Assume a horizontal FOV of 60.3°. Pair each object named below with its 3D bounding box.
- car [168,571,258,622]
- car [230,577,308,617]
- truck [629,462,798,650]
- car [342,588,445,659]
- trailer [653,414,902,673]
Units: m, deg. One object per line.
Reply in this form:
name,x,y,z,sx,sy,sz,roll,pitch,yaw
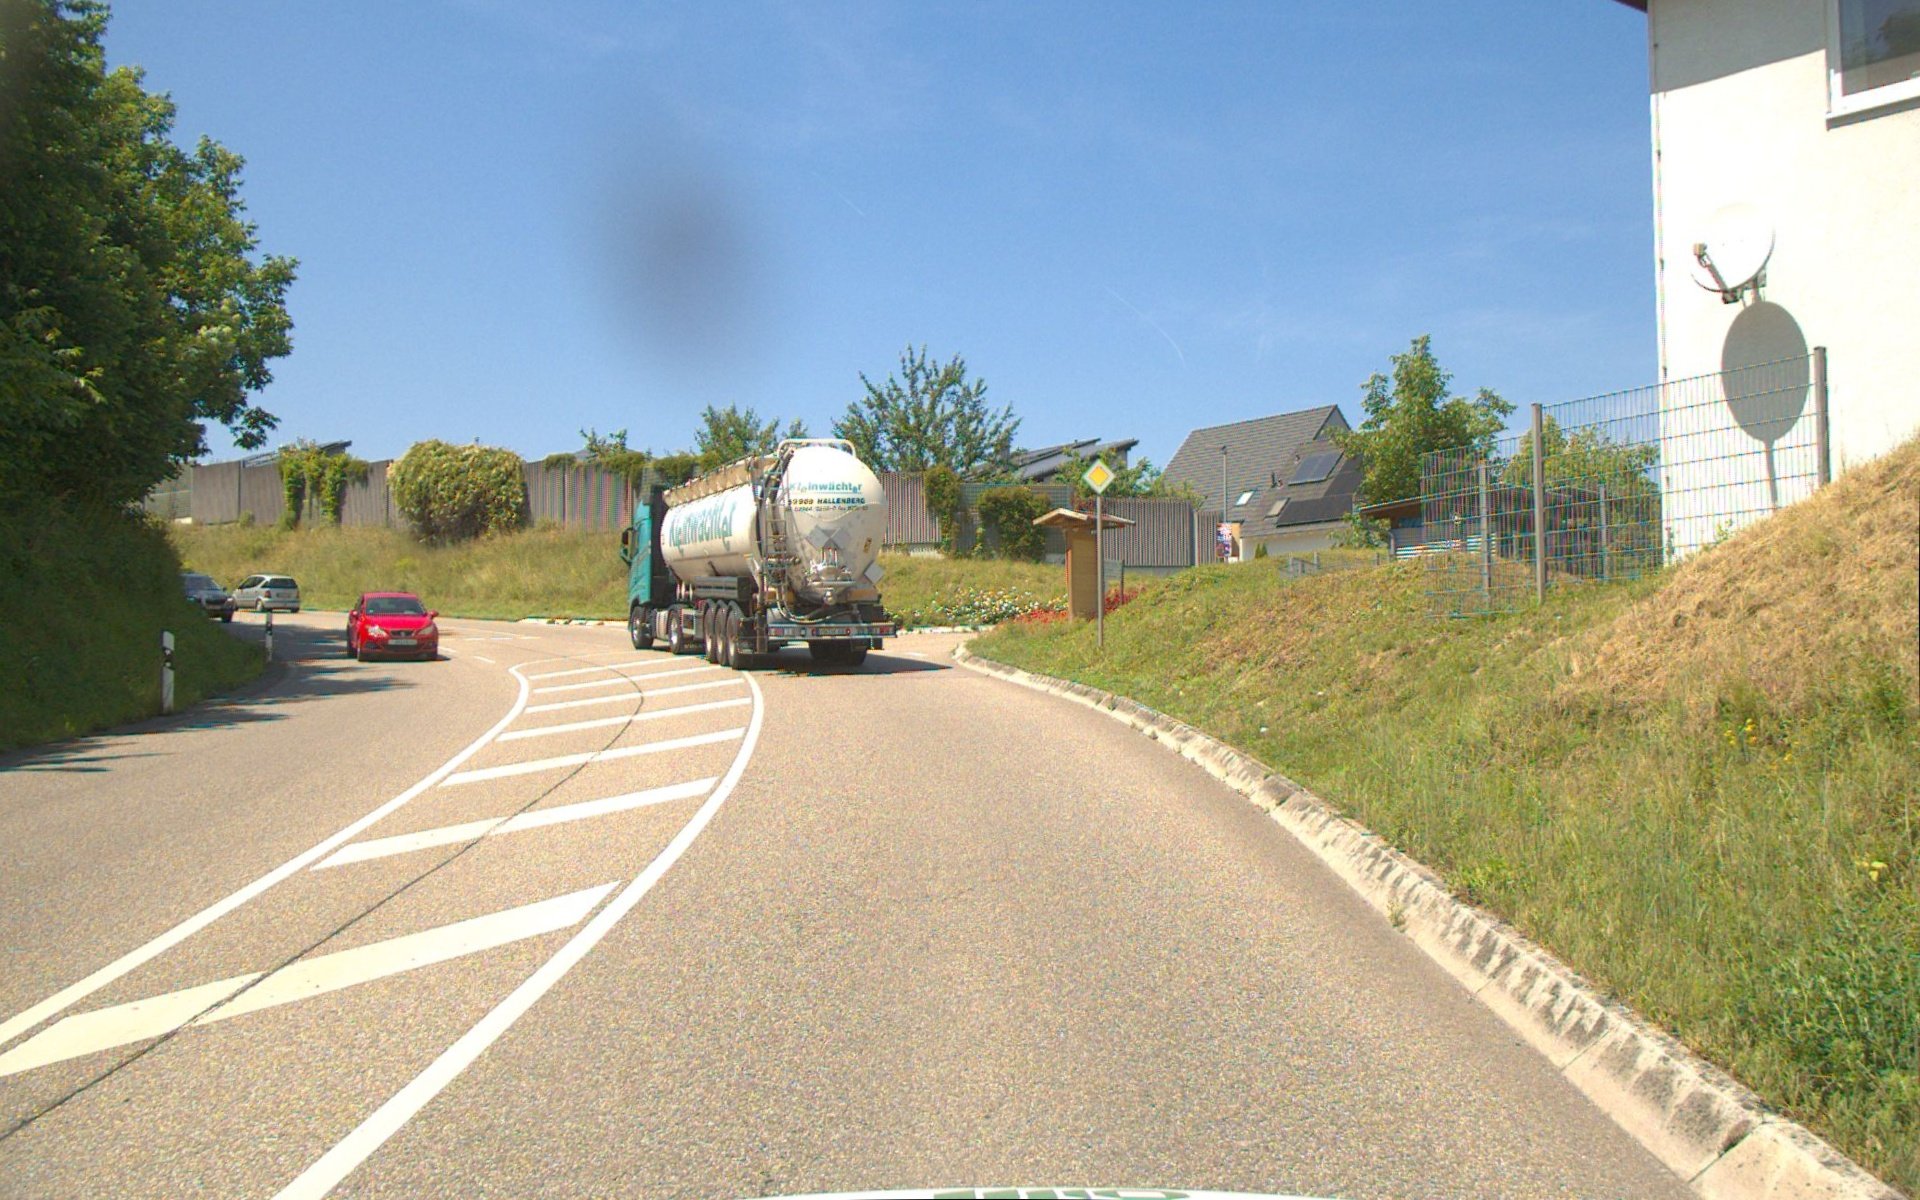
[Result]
car,-26.016,-0.147,57.521,1.780,1.632,4.120,-3,3,-40
car,-28.890,-0.122,69.117,3.576,1.536,1.642,1,-2,44
truck,-5.967,-0.968,39.053,2.685,3.998,7.225,-1,0,-18
car,-12.788,0.477,37.202,1.728,1.473,3.967,-1,1,-26
trailer,-4.067,-1.080,33.325,2.620,4.261,11.844,-2,2,-18
